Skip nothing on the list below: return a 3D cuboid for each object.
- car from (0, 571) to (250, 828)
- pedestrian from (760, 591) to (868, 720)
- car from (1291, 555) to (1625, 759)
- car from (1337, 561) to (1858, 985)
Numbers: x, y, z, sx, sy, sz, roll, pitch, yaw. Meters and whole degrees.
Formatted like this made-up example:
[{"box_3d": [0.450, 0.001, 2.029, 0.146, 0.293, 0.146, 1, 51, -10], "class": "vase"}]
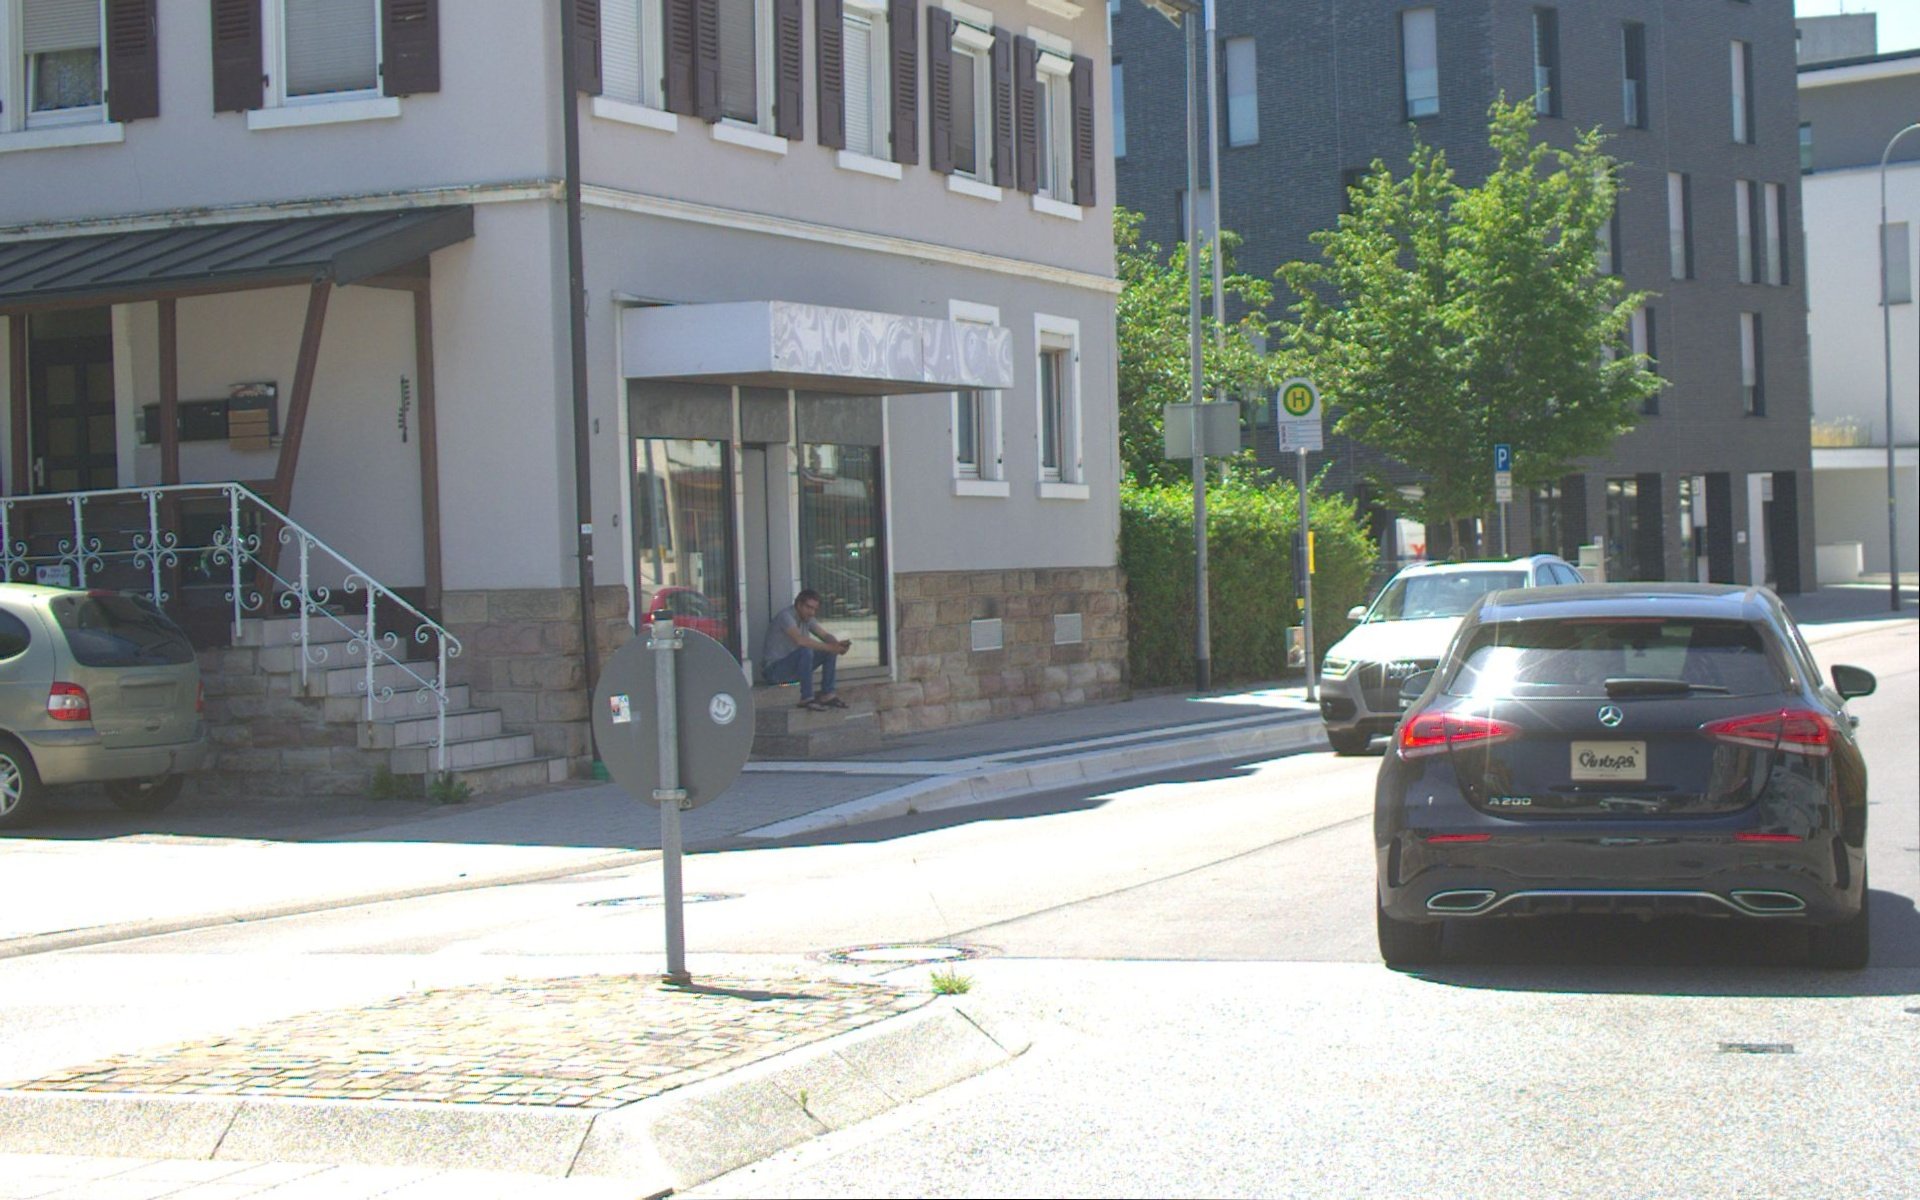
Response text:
[{"box_3d": [-7.102, 0.667, 23.763, 3.992, 1.634, 1.756, -1, 1, 24], "class": "car"}, {"box_3d": [-1.219, 0.461, 28.774, 0.670, 1.051, 0.699, -1, 1, 19], "class": "pedestrian"}, {"box_3d": [4.385, 0.452, 29.787, 1.677, 1.537, 4.078, -3, 0, 25], "class": "car"}, {"box_3d": [2.757, 0.624, 14.155, 1.764, 1.452, 4.435, -1, -1, 14], "class": "car"}]
